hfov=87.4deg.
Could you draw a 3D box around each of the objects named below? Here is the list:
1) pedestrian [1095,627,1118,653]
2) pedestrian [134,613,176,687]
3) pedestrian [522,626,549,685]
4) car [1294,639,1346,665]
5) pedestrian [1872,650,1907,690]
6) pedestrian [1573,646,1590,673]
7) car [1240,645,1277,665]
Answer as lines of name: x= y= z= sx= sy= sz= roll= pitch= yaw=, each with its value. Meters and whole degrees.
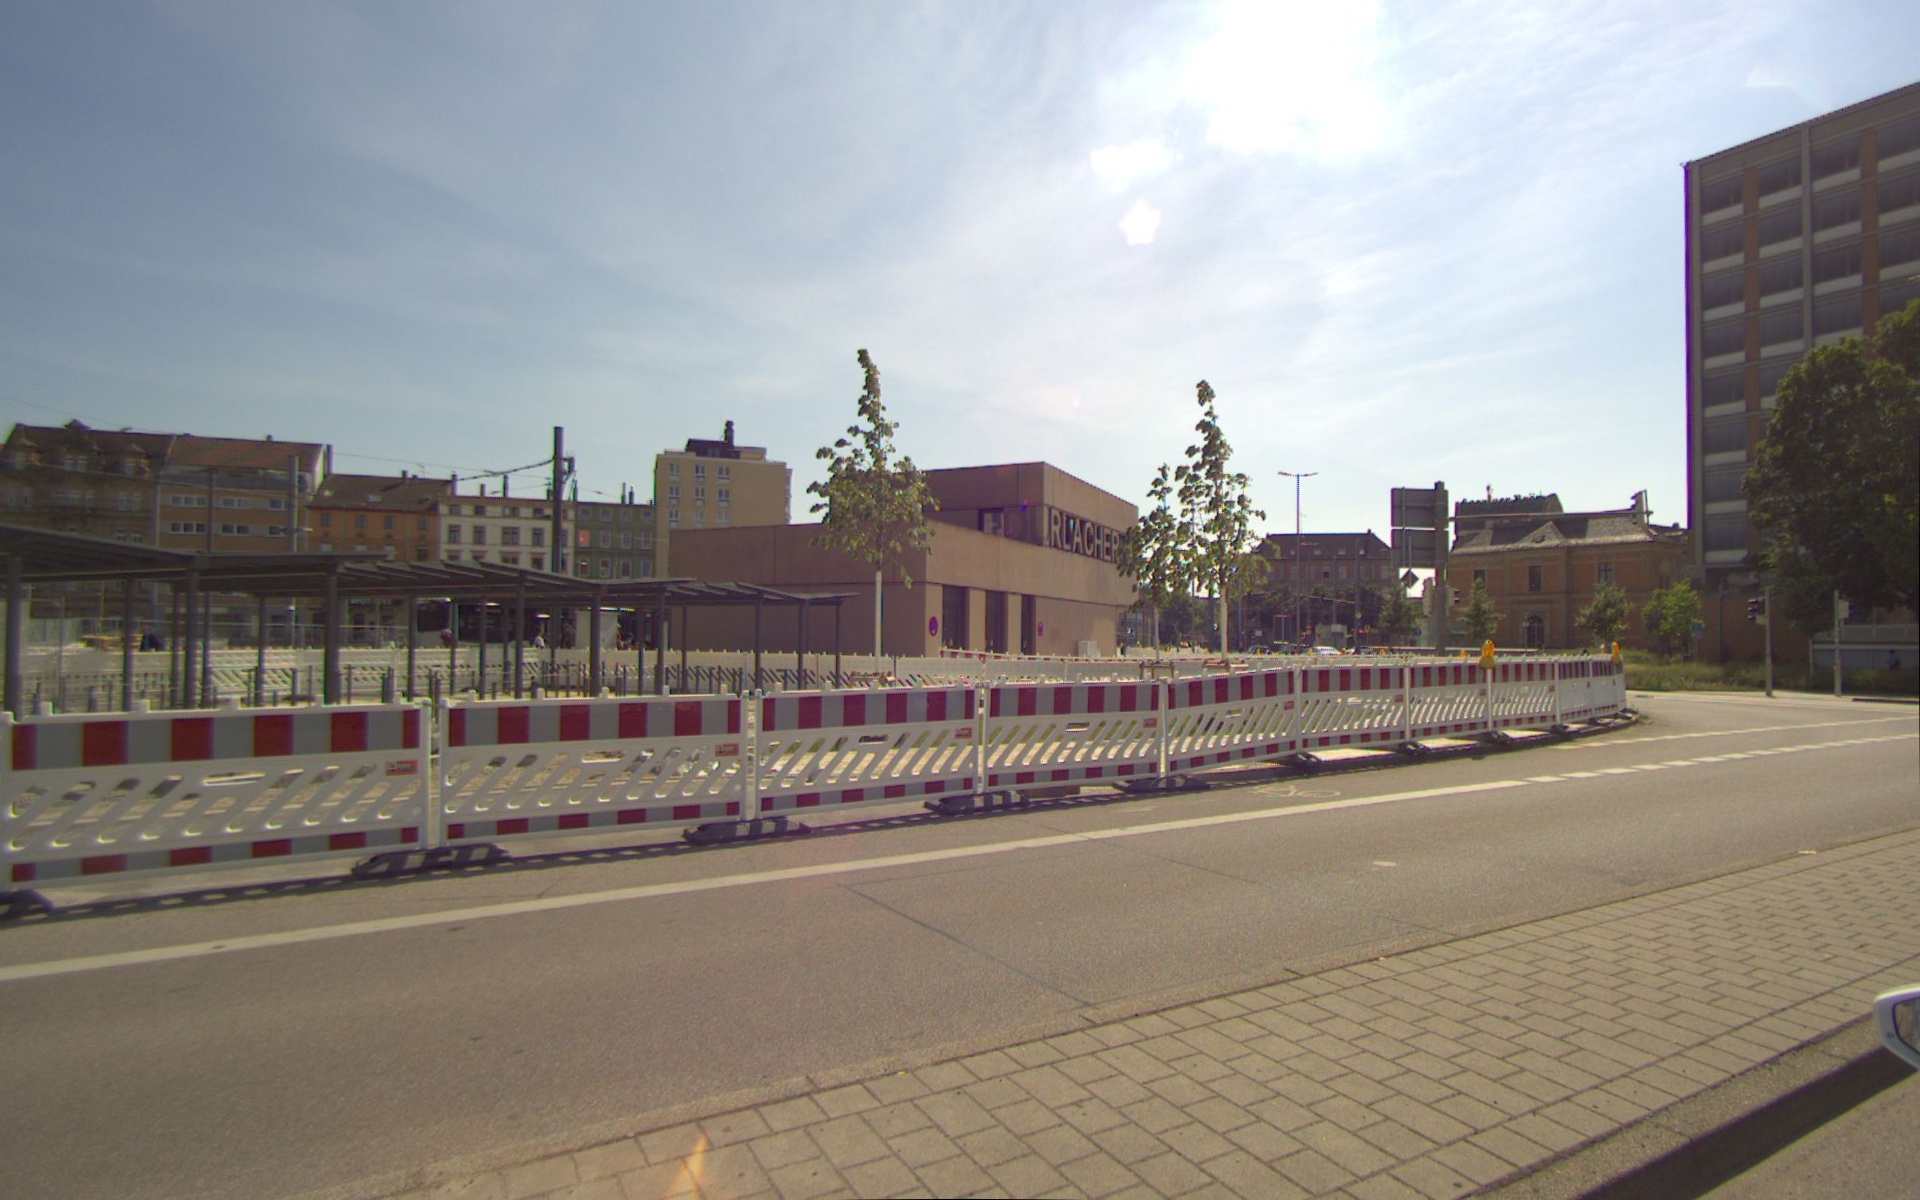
pedestrian: x=12.207 y=3.323 z=83.699 sx=1.619 sy=2.040 sz=1.527 roll=2 pitch=0 yaw=-2
pedestrian: x=-22.720 y=1.407 z=28.346 sx=0.807 sy=2.040 sz=0.684 roll=-1 pitch=-3 yaw=35
pedestrian: x=-11.749 y=1.533 z=27.803 sx=0.608 sy=1.602 sz=0.570 roll=1 pitch=-2 yaw=-30
car: x=26.010 y=3.733 z=72.703 sx=1.963 sy=1.839 sz=3.996 roll=1 pitch=-2 yaw=-7
pedestrian: x=41.687 y=3.117 z=45.058 sx=0.857 sy=1.748 sz=0.799 roll=1 pitch=-2 yaw=-7
pedestrian: x=39.909 y=3.832 z=64.460 sx=0.637 sy=1.683 sz=0.650 roll=2 pitch=0 yaw=-3
car: x=23.809 y=4.364 z=80.226 sx=1.764 sy=1.530 sz=4.001 roll=1 pitch=-2 yaw=1
